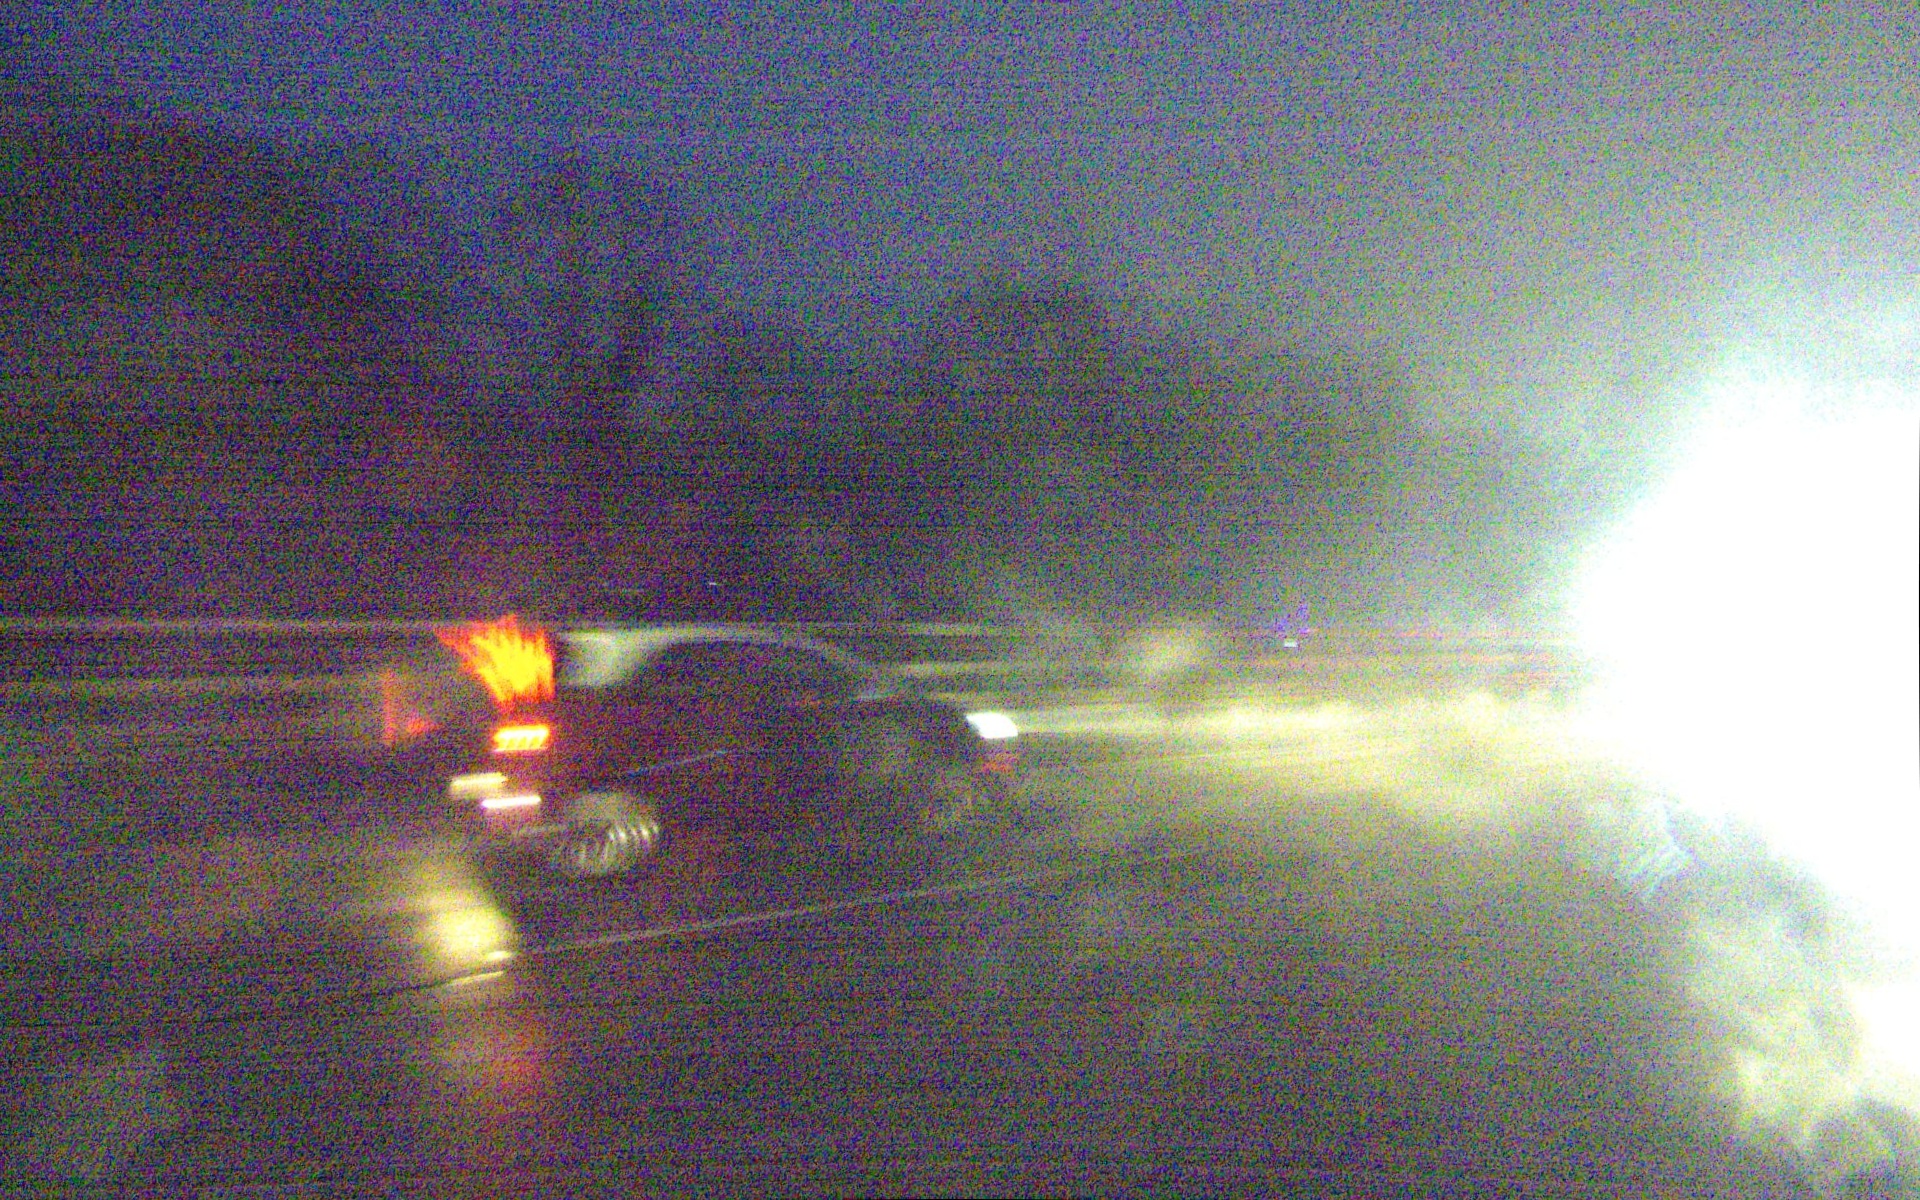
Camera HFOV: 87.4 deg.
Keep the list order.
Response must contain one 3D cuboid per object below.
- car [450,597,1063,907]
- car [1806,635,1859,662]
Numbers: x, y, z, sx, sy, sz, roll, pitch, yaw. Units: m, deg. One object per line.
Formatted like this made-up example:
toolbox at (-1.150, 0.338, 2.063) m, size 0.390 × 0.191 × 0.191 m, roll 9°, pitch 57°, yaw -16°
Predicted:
car at (-1.309, 0.839, 6.884) m, size 3.805 × 1.596 × 1.642 m, roll 1°, pitch -2°, yaw -31°
car at (50.309, 2.787, 57.900) m, size 3.862 × 1.494 × 1.769 m, roll 3°, pitch -1°, yaw -41°
